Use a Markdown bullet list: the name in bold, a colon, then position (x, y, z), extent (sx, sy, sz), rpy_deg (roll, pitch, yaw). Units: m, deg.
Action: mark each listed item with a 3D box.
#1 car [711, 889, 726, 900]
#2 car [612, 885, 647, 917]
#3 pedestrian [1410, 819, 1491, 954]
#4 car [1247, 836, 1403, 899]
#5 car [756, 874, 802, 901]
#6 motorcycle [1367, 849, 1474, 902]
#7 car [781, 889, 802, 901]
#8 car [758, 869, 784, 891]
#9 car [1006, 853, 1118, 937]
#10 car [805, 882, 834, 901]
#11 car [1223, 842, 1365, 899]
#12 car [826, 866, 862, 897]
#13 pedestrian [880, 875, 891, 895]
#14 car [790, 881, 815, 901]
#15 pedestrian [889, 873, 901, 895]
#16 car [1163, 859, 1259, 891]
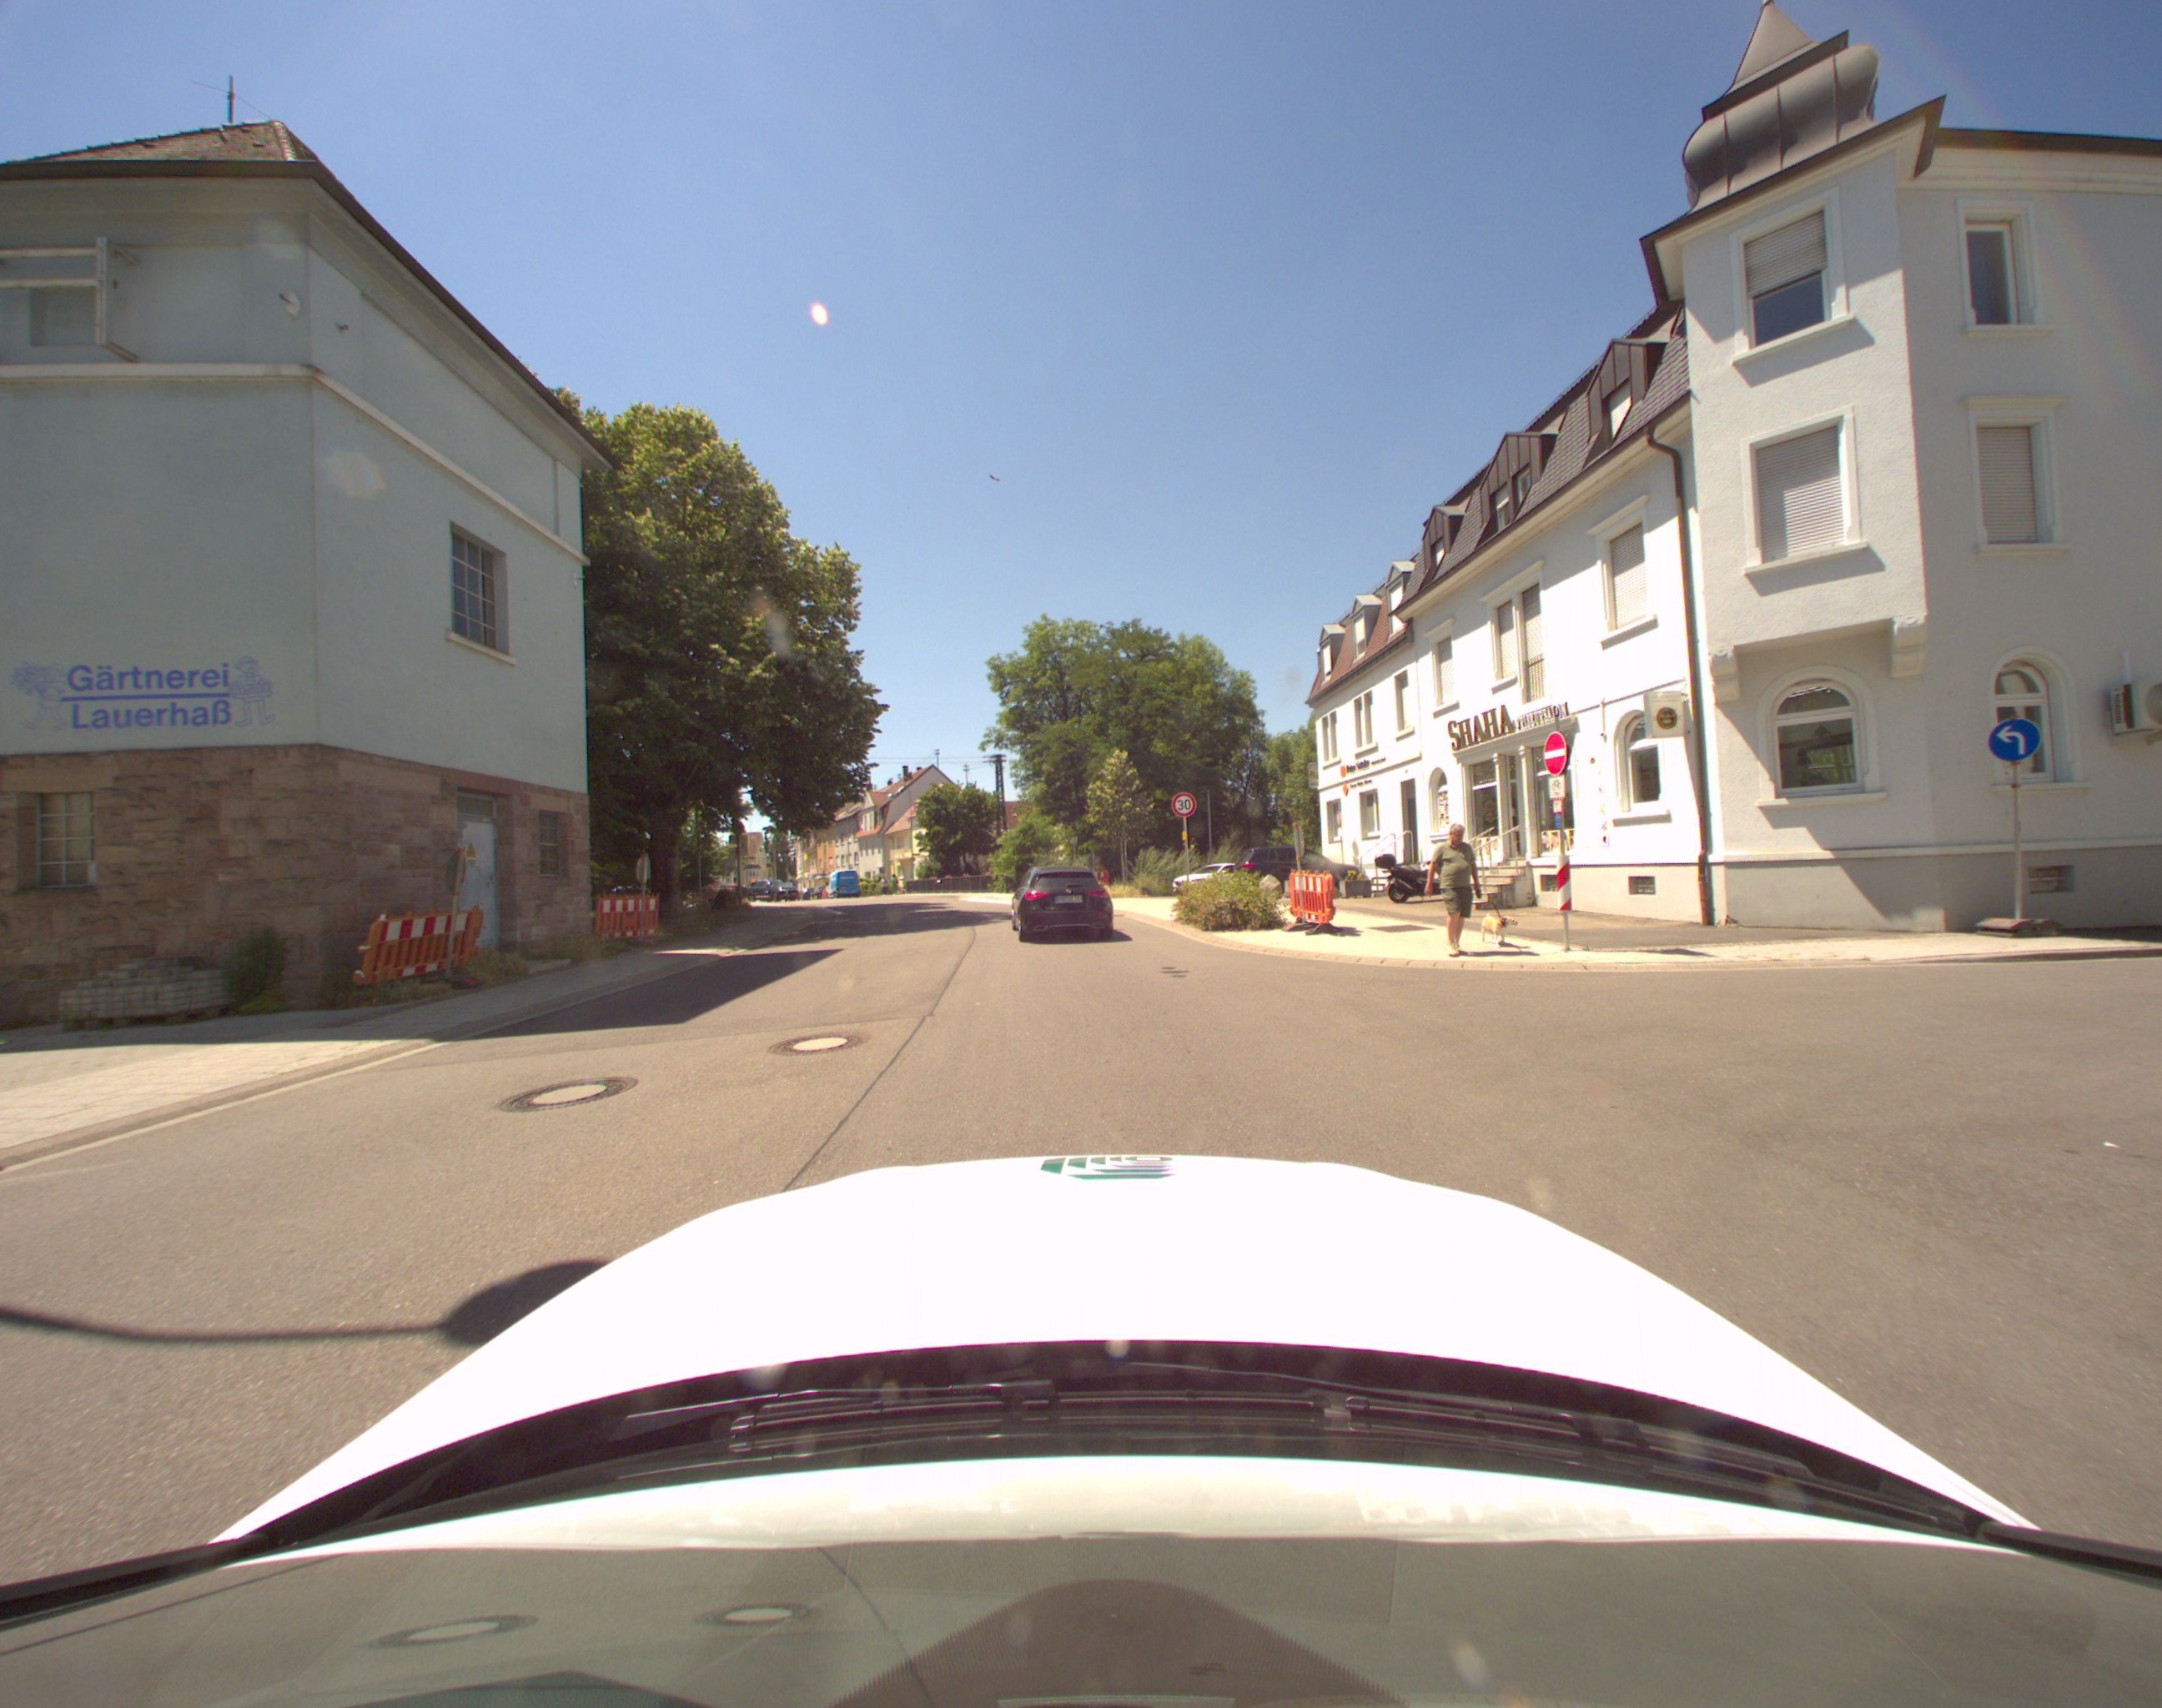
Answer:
- **car**: position (-57.280, 6.372, 128.633), extent (2.004, 1.660, 3.964), rpy_deg (1, -3, -27)
- **car**: position (-30.891, 3.143, 55.739), extent (2.006, 2.014, 3.962), rpy_deg (-1, -1, -29)
- **pedestrian**: position (5.167, 0.443, 11.444), extent (0.742, 1.796, 0.845), rpy_deg (-2, 0, 6)
- **car**: position (7.200, 0.410, 24.274), extent (4.066, 1.716, 1.854), rpy_deg (-1, -2, -3)
- **car**: position (-22.565, 2.521, 60.767), extent (1.756, 1.772, 4.285), rpy_deg (-3, -1, -41)
- **motorcycle**: position (8.684, 0.551, 20.892), extent (2.371, 1.275, 0.855), rpy_deg (-2, -1, -2)
- **car**: position (-38.213, 5.410, 107.499), extent (2.005, 1.392, 4.290), rpy_deg (-1, -1, -27)
- **car**: position (-35.951, 3.007, 94.284), extent (2.257, 2.343, 4.809), rpy_deg (-2, -1, -27)
- **car**: position (-0.520, 0.875, 16.787), extent (1.827, 1.442, 3.987), rpy_deg (-2, -4, -8)
- **car**: position (-25.897, 3.714, 80.511), extent (2.005, 1.746, 4.290), rpy_deg (-1, -1, -27)
- **car**: position (6.853, 0.534, 26.430), extent (4.066, 1.716, 1.854), rpy_deg (-1, -2, -3)
- **car**: position (-20.592, 2.444, 70.664), extent (2.144, 2.541, 4.608), rpy_deg (-2, -2, -26)
- **pedestrian**: position (-16.437, 2.629, 68.428), extent (0.618, 1.613, 0.829), rpy_deg (-1, -2, -32)
- **car**: position (-30.122, 3.972, 87.985), extent (2.005, 2.014, 3.964), rpy_deg (-1, -1, -27)
- **pedestrian**: position (-15.509, 2.507, 67.769), extent (0.666, 1.741, 0.693), rpy_deg (0, -3, -44)
- **car**: position (5.826, 0.911, 36.309), extent (4.223, 1.350, 1.839), rpy_deg (1, -1, -38)
